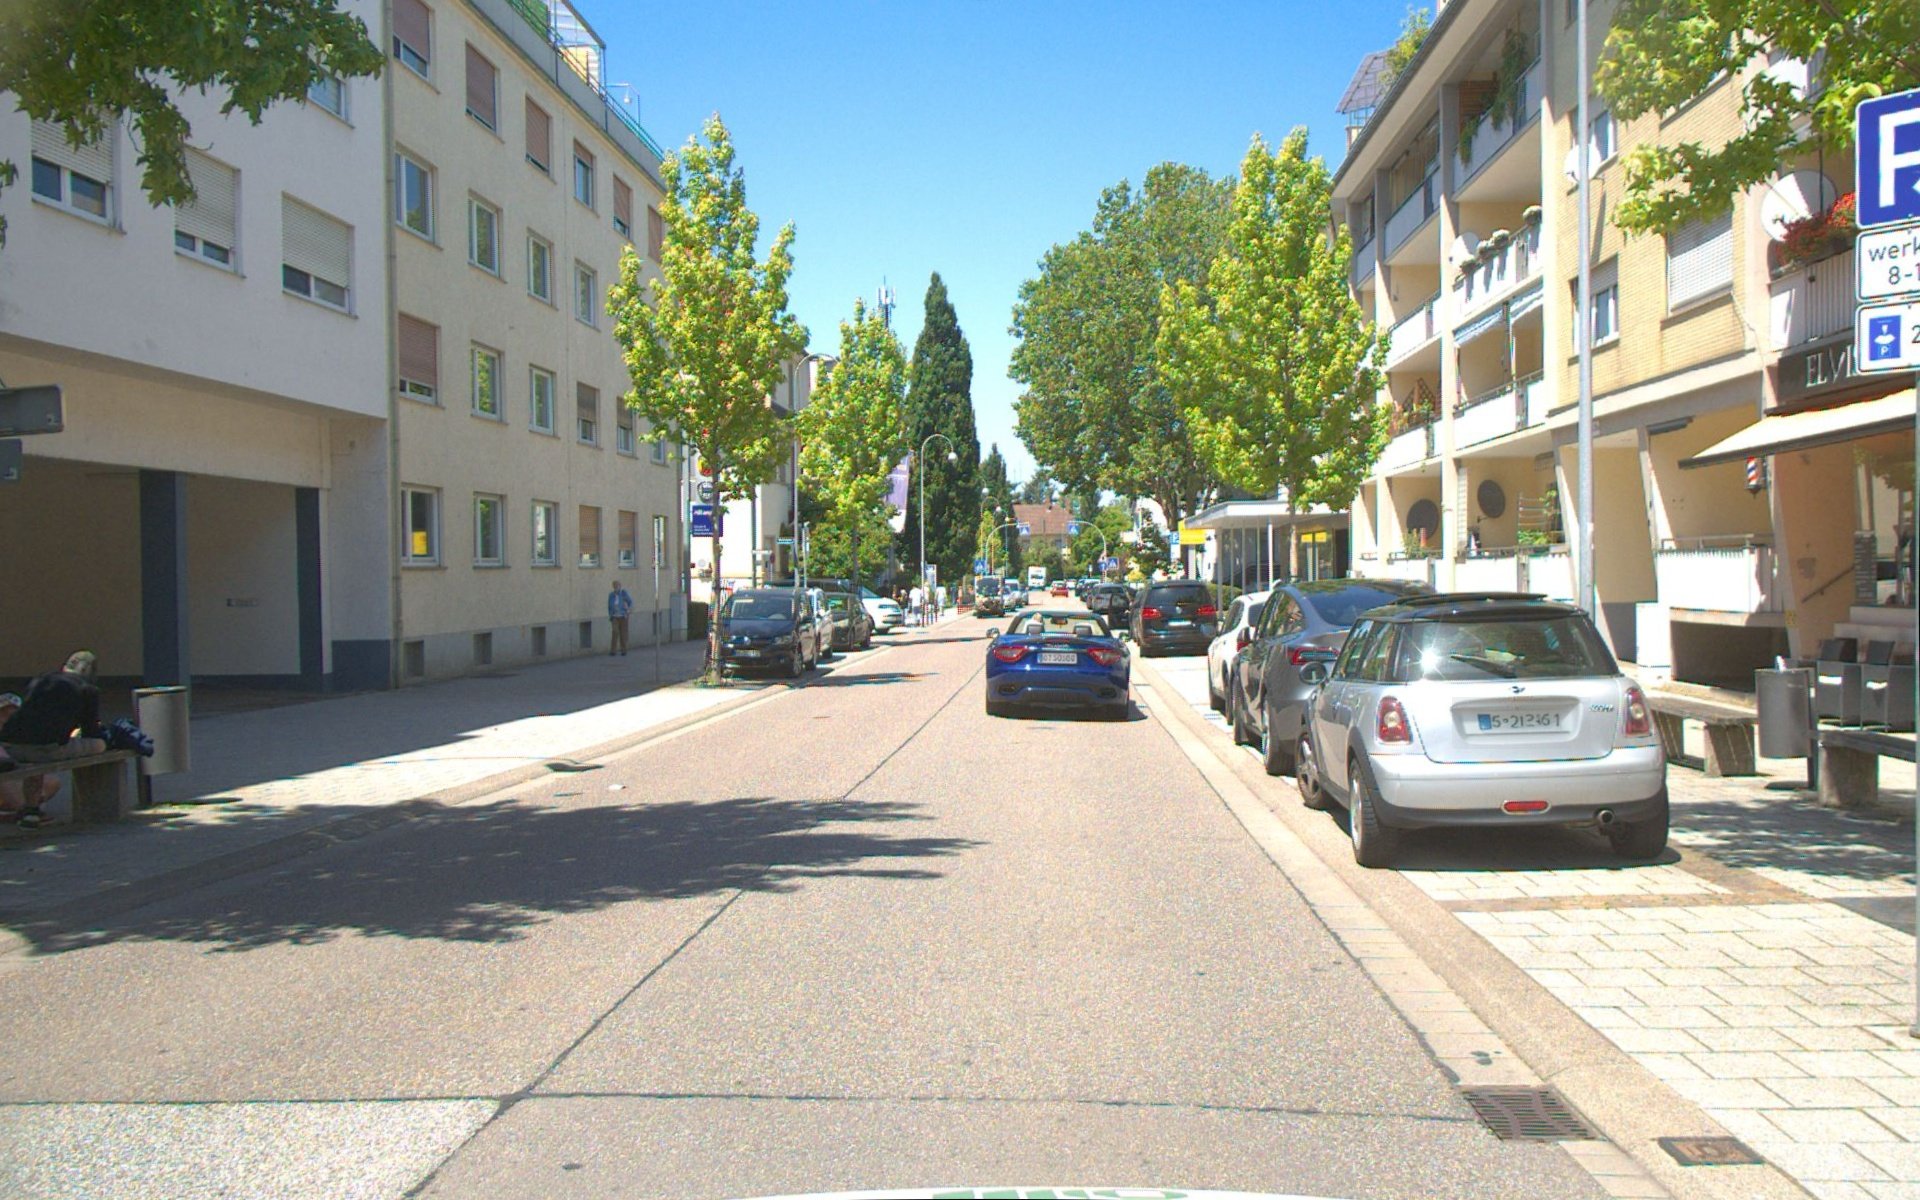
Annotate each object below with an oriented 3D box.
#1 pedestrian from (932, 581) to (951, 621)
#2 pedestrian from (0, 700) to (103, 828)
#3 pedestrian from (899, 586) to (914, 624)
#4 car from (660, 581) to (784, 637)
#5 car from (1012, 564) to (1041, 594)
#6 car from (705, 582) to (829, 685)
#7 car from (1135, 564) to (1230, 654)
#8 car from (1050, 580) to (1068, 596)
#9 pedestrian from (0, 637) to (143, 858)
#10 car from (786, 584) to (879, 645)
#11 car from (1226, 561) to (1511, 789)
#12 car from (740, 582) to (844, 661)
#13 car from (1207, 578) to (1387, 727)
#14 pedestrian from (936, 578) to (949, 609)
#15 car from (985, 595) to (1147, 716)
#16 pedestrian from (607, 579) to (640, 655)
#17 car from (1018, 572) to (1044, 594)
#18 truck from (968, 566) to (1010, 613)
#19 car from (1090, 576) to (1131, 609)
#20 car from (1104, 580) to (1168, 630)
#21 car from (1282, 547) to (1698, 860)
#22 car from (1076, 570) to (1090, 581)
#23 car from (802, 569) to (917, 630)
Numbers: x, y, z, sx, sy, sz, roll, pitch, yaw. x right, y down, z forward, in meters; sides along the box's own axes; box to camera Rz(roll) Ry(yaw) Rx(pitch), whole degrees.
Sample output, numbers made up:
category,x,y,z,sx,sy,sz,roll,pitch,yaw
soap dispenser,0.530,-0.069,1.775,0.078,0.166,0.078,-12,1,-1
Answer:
category,x,y,z,sx,sy,sz,roll,pitch,yaw
pedestrian,-0.931,0.033,84.315,0.831,1.948,0.762,-2,3,3
pedestrian,-6.656,1.157,11.785,0.650,0.873,0.733,-2,-3,13
pedestrian,-2.117,0.195,65.182,0.567,1.500,0.564,-1,0,-3
car,-8.224,0.309,57.279,3.975,1.854,1.760,1,1,2
car,4.288,-1.363,106.925,1.733,1.798,4.139,-2,1,2
car,-3.696,0.584,32.316,1.693,1.770,4.394,2,1,2
car,5.156,0.154,38.812,1.951,1.829,4.573,-2,2,5
car,9.684,-1.145,162.555,1.732,1.502,4.139,-1,0,3
pedestrian,-5.904,0.957,10.957,0.555,1.396,0.667,-2,0,13
car,-3.351,0.339,44.180,1.717,1.499,4.324,1,1,6
car,3.595,0.562,15.401,1.727,1.735,4.708,-2,1,4
car,-3.786,0.445,37.987,1.786,1.647,4.394,0,1,2
car,4.111,0.572,20.767,1.686,1.611,4.228,-2,0,5
pedestrian,-0.876,-0.331,84.328,0.574,1.602,0.781,-1,1,3
car,1.408,0.675,22.495,1.935,1.422,4.628,2,0,3
pedestrian,-7.868,0.398,38.630,0.645,1.709,0.629,-3,3,-14
car,5.111,-1.233,118.222,1.733,1.502,4.139,-2,1,3
truck,1.469,-0.540,80.946,1.767,2.154,4.718,-2,1,4
car,7.763,-0.396,85.548,1.935,1.475,4.352,-3,2,4
car,5.542,0.137,52.445,1.806,1.439,4.165,-2,0,4
car,3.123,0.523,10.512,1.588,1.586,3.842,-2,0,4
car,17.890,-3.635,240.145,1.909,1.502,4.140,-2,1,5
car,-3.525,0.003,57.288,1.888,1.956,4.853,-3,1,-31
